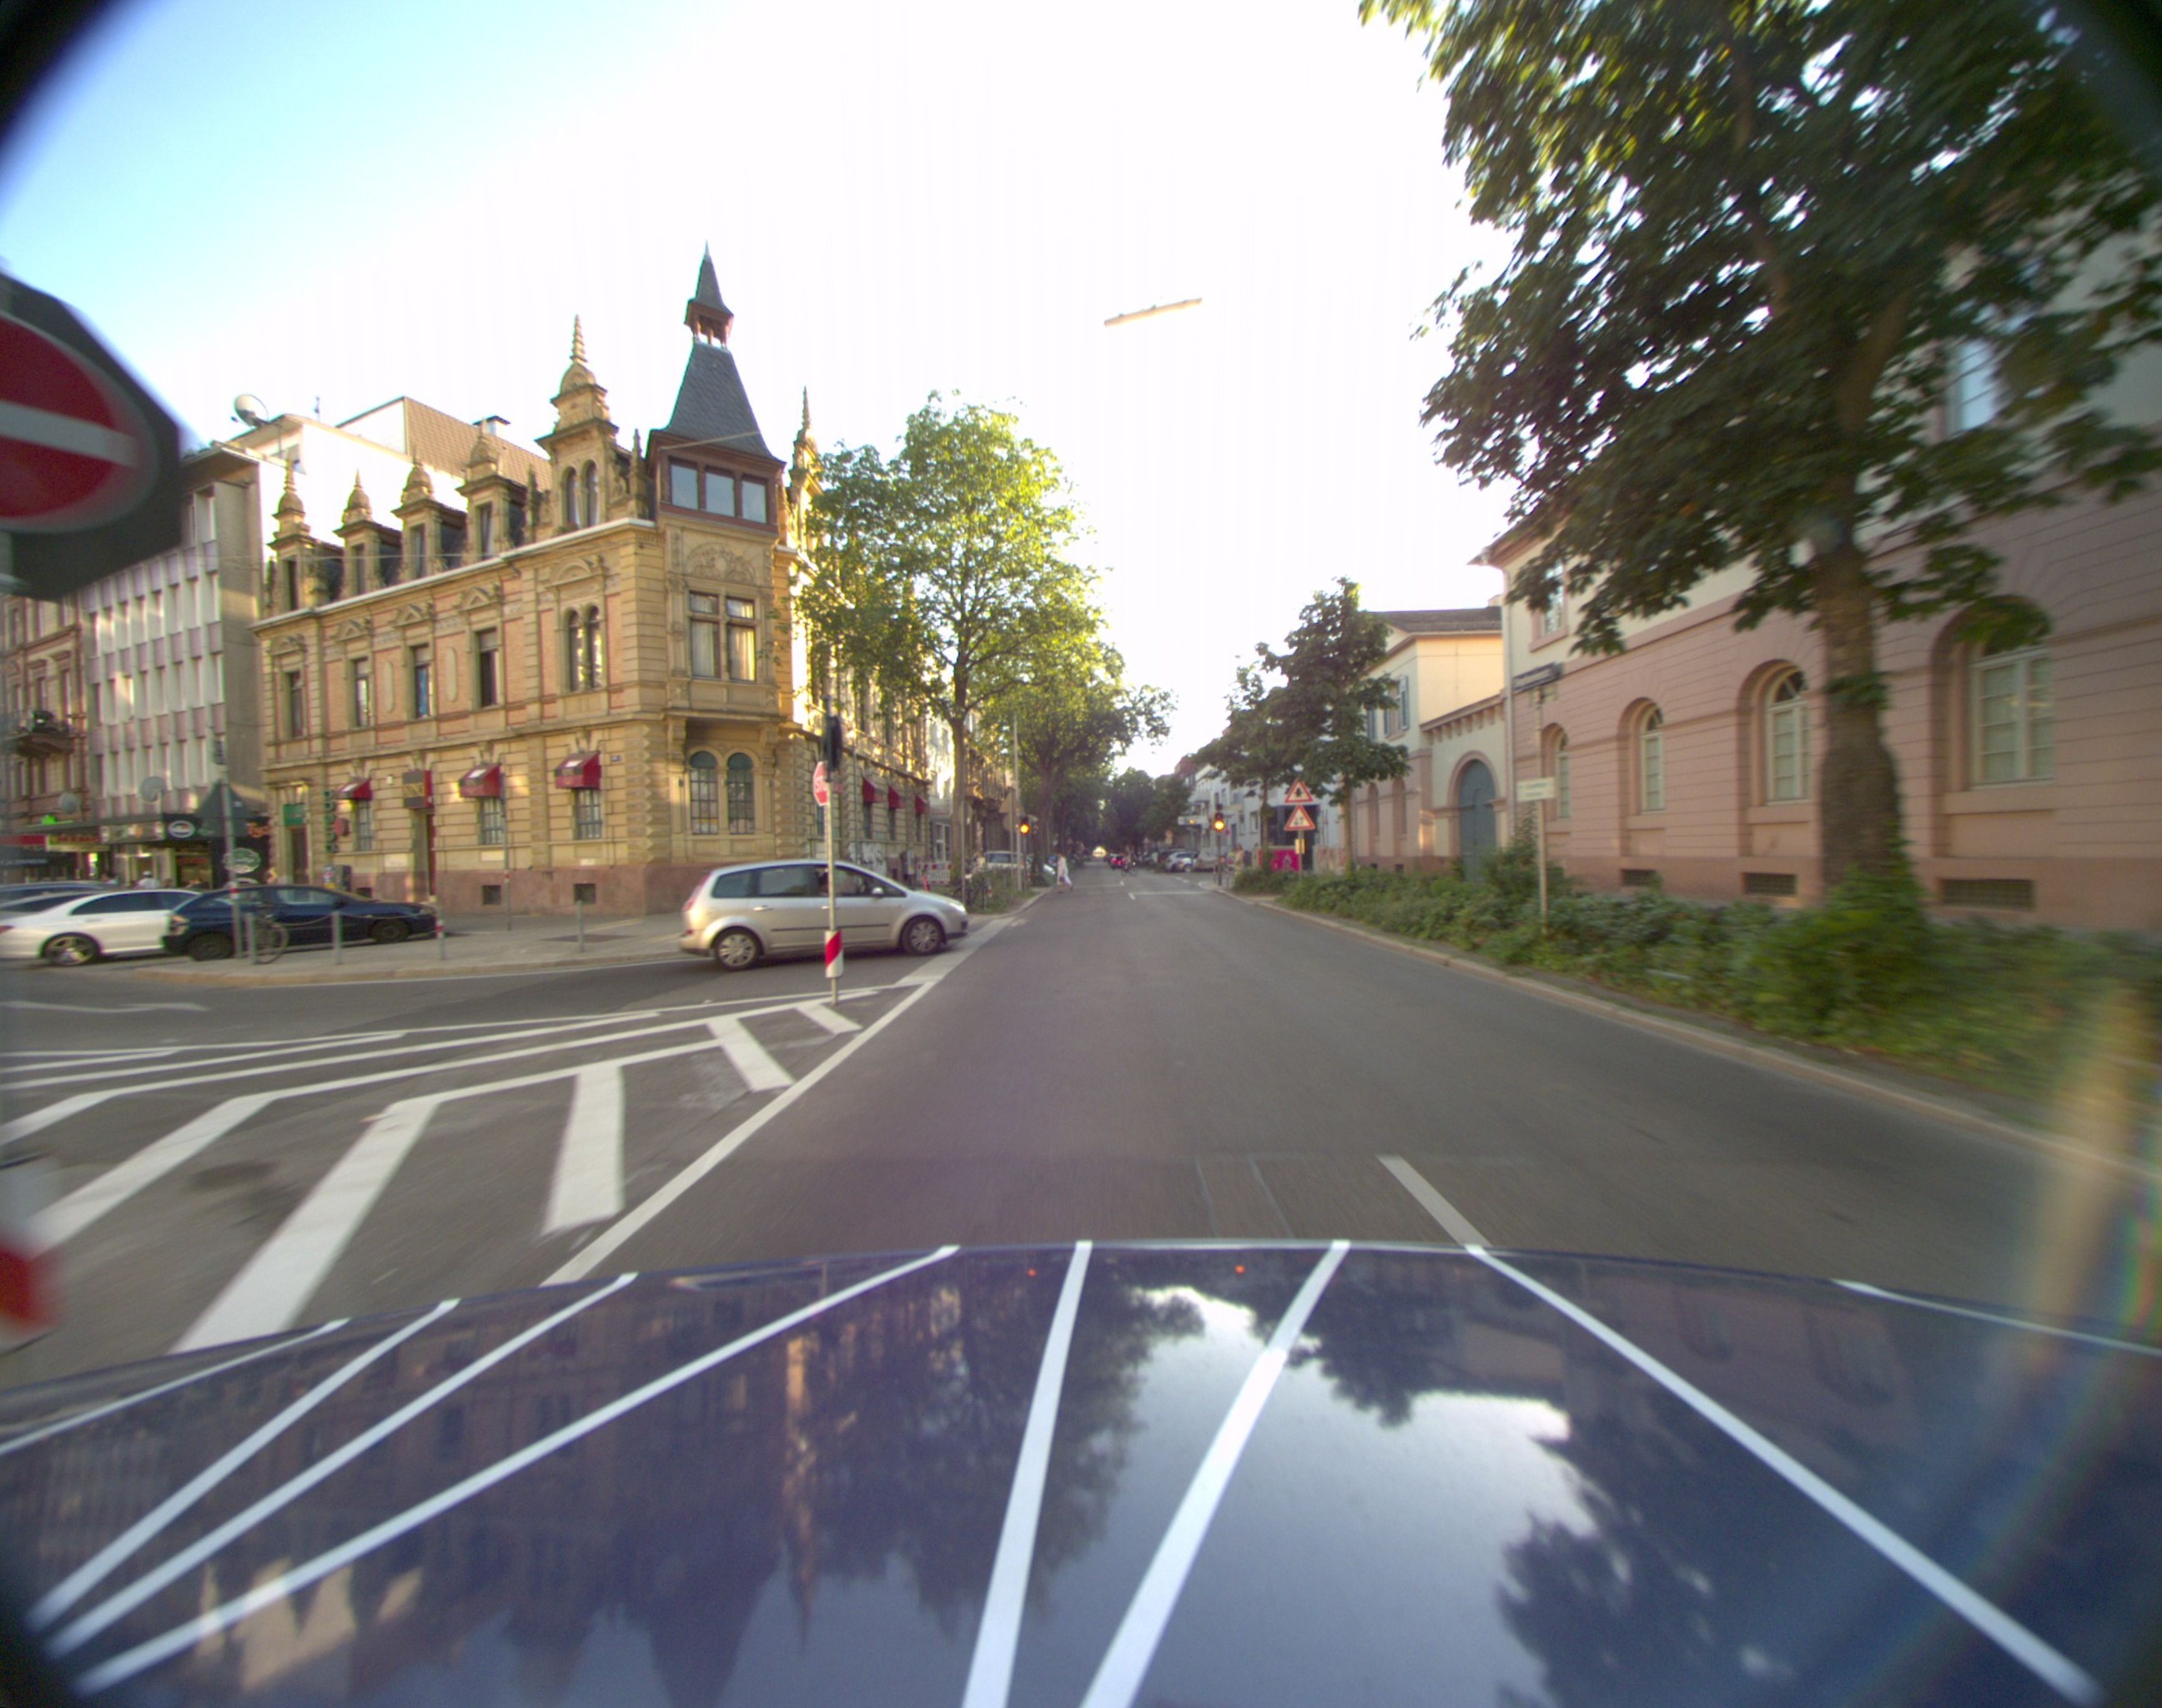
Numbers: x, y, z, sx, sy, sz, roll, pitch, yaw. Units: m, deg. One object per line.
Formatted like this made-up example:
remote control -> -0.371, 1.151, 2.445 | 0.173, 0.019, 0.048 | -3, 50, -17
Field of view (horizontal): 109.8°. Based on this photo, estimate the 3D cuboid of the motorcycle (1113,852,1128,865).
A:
motorcycle -> 3.584, 0.410, 69.051 | 1.315, 1.084, 2.396 | 0, 1, 1

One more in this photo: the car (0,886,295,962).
car -> -22.433, 1.592, 18.058 | 4.985, 1.449, 1.871 | -1, -1, -38

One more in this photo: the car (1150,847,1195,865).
car -> 8.524, 0.164, 71.306 | 4.037, 1.485, 1.781 | -4, 1, 5

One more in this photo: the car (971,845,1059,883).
car -> -3.476, 0.500, 40.641 | 4.552, 1.904, 1.950 | -1, 1, -1

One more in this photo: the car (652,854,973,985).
car -> -4.076, 0.901, 11.961 | 4.356, 1.644, 1.882 | -2, 1, -20

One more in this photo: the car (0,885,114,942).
car -> -31.695, 1.769, 22.215 | 1.775, 1.552, 4.147 | -1, 0, 37

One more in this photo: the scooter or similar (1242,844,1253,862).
scooter or similar -> 12.071, -0.107, 55.063 | 0.516, 1.254, 1.421 | -3, 1, 6

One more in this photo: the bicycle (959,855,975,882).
bicycle -> -5.382, 0.675, 36.032 | 0.386, 1.228, 1.725 | -1, 1, 3

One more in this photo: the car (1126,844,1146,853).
car -> 9.941, -0.970, 137.686 | 3.497, 1.397, 1.673 | -4, 0, -1

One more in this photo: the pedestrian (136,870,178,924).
pedestrian -> -30.549, 1.411, 25.112 | 0.734, 1.753, 0.635 | -1, 1, 23

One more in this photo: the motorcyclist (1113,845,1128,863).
motorcyclist -> 3.573, 0.026, 69.057 | 1.283, 1.583, 1.077 | -2, 1, 1

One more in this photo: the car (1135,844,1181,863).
car -> 8.823, -0.097, 86.996 | 5.003, 1.979, 2.189 | -2, 0, -1

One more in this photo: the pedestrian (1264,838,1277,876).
pedestrian -> 9.225, 0.132, 37.018 | 0.555, 1.840, 0.612 | -2, 1, 15

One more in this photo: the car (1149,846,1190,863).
car -> 8.865, 0.071, 76.343 | 3.854, 1.442, 1.855 | -3, 0, 1

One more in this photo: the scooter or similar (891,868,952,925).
scooter or similar -> -3.719, 0.980, 17.746 | 1.277, 1.236, 0.505 | -2, 1, -42

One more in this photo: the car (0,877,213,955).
car -> -25.412, 1.520, 19.294 | 4.146, 1.716, 1.775 | -1, 0, -39

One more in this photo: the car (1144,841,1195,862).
car -> 8.554, -0.228, 73.708 | 4.677, 1.755, 2.156 | -3, 1, 1

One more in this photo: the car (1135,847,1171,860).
car -> 9.342, -0.063, 98.855 | 4.436, 1.399, 1.717 | -3, 2, -2

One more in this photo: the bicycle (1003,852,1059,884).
bicycle -> -2.823, 0.768, 43.108 | 3.122, 1.653, 0.658 | -2, 1, -3

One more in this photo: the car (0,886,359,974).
car -> -19.359, 1.540, 16.561 | 4.999, 1.449, 1.983 | -1, 0, -36

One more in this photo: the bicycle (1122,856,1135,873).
bicycle -> 2.992, 0.654, 48.137 | 0.778, 0.967, 2.025 | -2, 1, 4

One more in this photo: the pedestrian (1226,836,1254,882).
pedestrian -> 6.359, 0.202, 30.327 | 0.791, 1.780, 0.772 | -5, 0, 29

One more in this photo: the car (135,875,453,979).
car -> -15.903, 1.372, 15.746 | 4.285, 1.405, 1.708 | -7, 4, -41

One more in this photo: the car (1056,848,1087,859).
car -> -1.429, -0.040, 117.659 | 4.420, 1.552, 1.867 | 2, 0, 8

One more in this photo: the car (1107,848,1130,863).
car -> 4.114, 0.174, 83.074 | 1.882, 1.540, 4.272 | -1, 0, -6

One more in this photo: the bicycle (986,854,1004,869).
bicycle -> -4.337, 0.360, 38.388 | 0.582, 0.661, 2.329 | -3, 1, 1

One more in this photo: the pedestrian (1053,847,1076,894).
pedestrian -> -0.671, 0.669, 31.153 | 0.771, 1.877, 0.792 | -2, 1, -11

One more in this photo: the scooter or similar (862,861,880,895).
scooter or similar -> -7.532, 0.856, 27.247 | 0.251, 1.187, 1.093 | -1, 0, 2

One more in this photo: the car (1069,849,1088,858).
car -> -0.523, -0.148, 144.968 | 3.552, 1.411, 1.590 | -5, 1, -1

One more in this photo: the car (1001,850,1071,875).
car -> -2.821, 0.530, 48.242 | 4.234, 1.551, 1.971 | -1, 0, 4

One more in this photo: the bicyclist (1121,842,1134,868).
bicyclist -> 2.944, 0.056, 48.062 | 0.753, 1.612, 1.147 | -2, 1, 4

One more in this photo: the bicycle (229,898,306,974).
bicycle -> -14.344, 1.401, 13.428 | 1.828, 1.128, 0.829 | 0, 3, 44

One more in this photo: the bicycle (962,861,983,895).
bicycle -> -4.002, 0.859, 28.133 | 0.525, 1.145, 2.248 | -2, 1, -3

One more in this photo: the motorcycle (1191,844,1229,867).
motorcycle -> 8.152, 0.119, 48.041 | 2.150, 1.411, 0.969 | -1, 1, 23

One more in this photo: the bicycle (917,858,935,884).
bicycle -> -7.319, 0.792, 35.899 | 0.386, 1.204, 1.725 | -1, 1, 3

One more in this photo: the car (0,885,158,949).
car -> -28.531, 1.724, 20.587 | 4.146, 1.531, 1.775 | -1, 0, -39

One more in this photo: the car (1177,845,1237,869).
car -> 8.396, 0.197, 50.930 | 3.748, 1.303, 1.845 | -4, 0, 5

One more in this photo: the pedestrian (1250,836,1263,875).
pedestrian -> 8.593, 0.074, 37.148 | 0.555, 1.840, 0.612 | -1, 1, 16

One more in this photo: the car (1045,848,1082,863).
car -> -2.096, 0.185, 93.570 | 4.451, 1.708, 1.968 | 0, 1, 1

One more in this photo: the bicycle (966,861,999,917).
bicycle -> -2.509, 0.878, 19.440 | 0.417, 1.364, 1.289 | -1, 1, 13

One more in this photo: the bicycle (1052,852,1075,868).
bicycle -> -1.589, 0.506, 69.453 | 2.051, 1.352, 0.508 | -3, 1, -1

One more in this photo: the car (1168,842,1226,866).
car -> 8.164, -0.026, 53.584 | 3.751, 1.450, 1.735 | -4, 1, 0

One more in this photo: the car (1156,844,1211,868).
car -> 8.097, 0.155, 60.142 | 4.102, 1.622, 1.936 | -3, 1, 2
